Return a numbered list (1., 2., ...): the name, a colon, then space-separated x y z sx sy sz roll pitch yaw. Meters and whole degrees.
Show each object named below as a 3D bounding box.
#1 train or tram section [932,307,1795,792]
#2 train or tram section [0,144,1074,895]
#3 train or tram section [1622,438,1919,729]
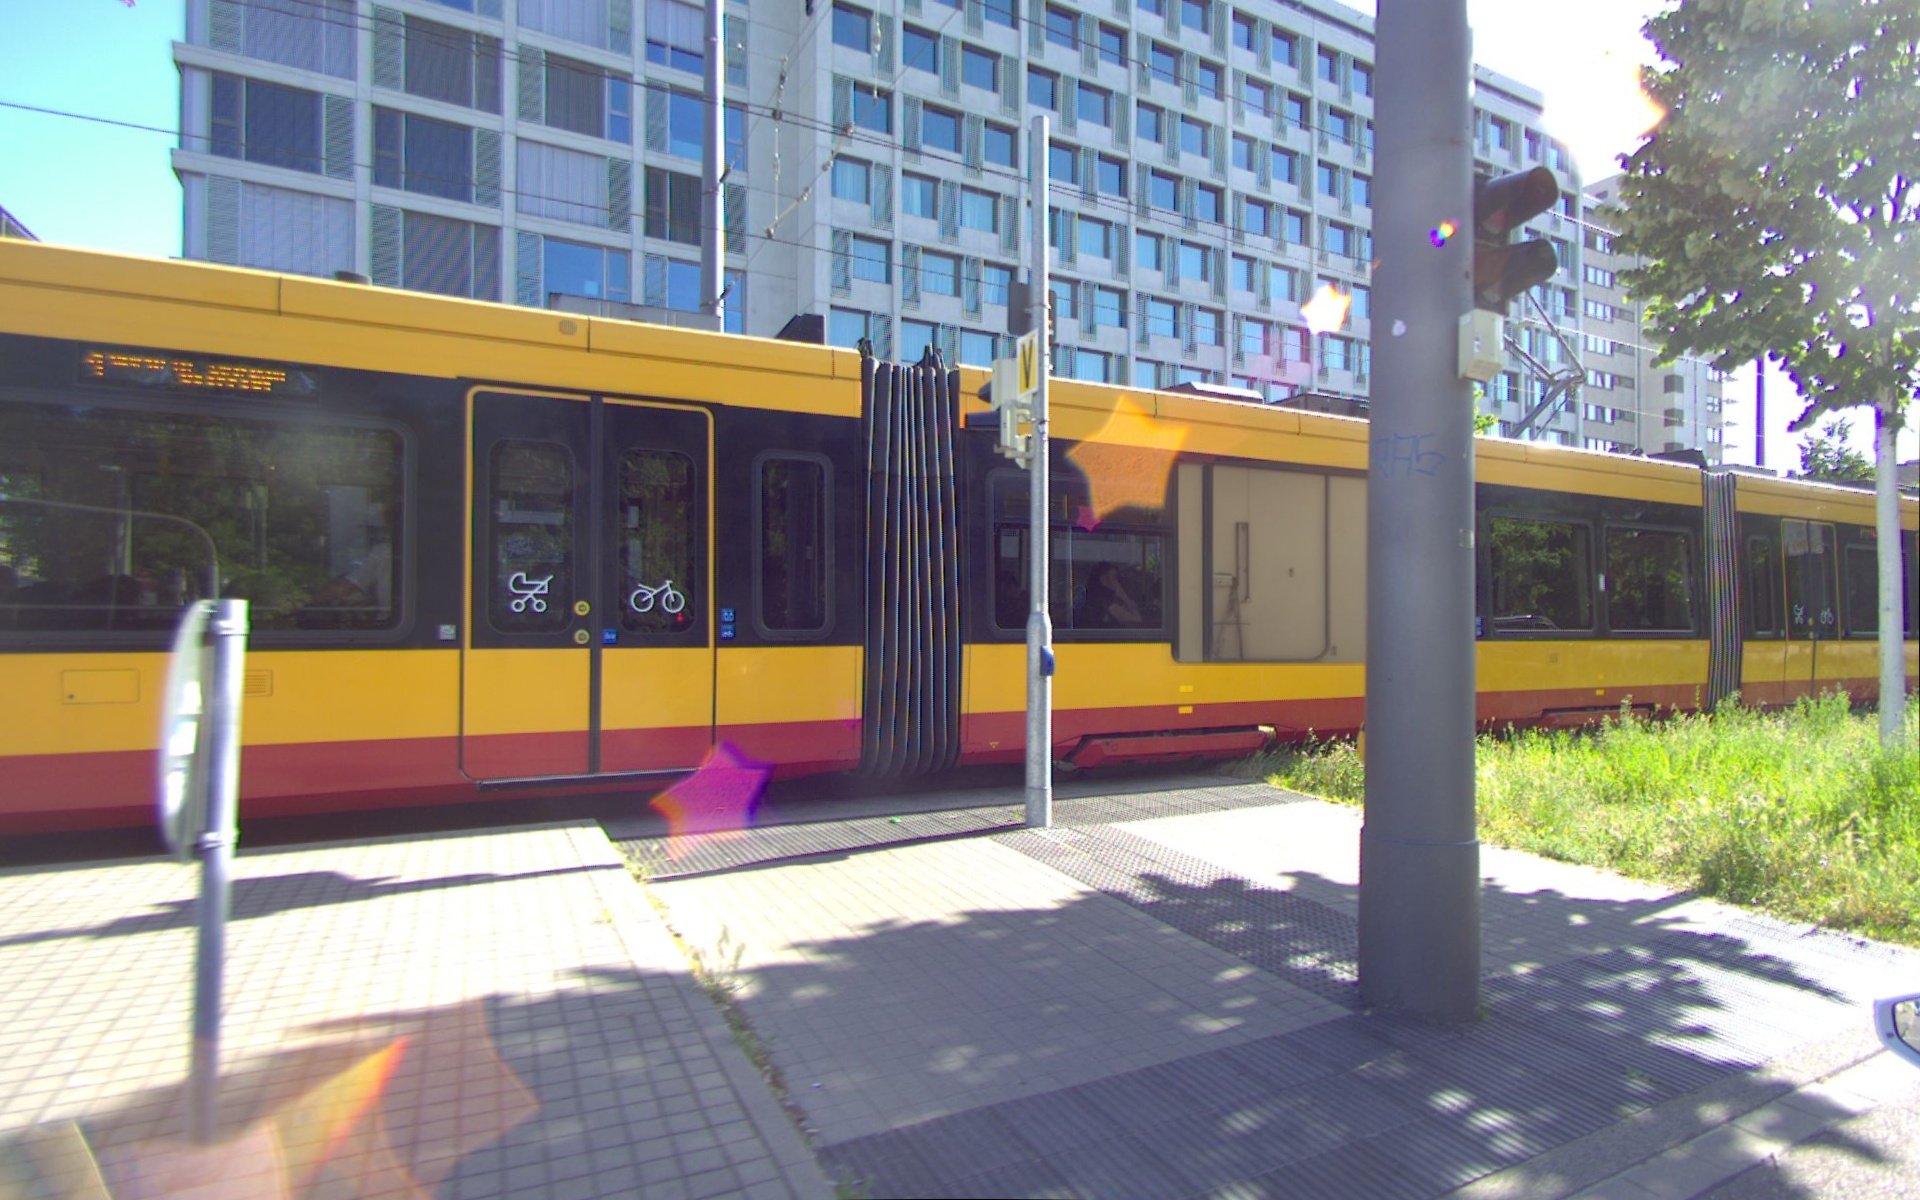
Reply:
1. train or tram section: 5.183 -0.246 11.135 11.169 3.718 1.986 2 0 -27
2. train or tram section: -5.853 -0.415 5.548 13.964 3.718 1.987 2 0 -26
3. train or tram section: 15.221 -0.062 16.318 11.532 3.718 1.986 2 0 -27
